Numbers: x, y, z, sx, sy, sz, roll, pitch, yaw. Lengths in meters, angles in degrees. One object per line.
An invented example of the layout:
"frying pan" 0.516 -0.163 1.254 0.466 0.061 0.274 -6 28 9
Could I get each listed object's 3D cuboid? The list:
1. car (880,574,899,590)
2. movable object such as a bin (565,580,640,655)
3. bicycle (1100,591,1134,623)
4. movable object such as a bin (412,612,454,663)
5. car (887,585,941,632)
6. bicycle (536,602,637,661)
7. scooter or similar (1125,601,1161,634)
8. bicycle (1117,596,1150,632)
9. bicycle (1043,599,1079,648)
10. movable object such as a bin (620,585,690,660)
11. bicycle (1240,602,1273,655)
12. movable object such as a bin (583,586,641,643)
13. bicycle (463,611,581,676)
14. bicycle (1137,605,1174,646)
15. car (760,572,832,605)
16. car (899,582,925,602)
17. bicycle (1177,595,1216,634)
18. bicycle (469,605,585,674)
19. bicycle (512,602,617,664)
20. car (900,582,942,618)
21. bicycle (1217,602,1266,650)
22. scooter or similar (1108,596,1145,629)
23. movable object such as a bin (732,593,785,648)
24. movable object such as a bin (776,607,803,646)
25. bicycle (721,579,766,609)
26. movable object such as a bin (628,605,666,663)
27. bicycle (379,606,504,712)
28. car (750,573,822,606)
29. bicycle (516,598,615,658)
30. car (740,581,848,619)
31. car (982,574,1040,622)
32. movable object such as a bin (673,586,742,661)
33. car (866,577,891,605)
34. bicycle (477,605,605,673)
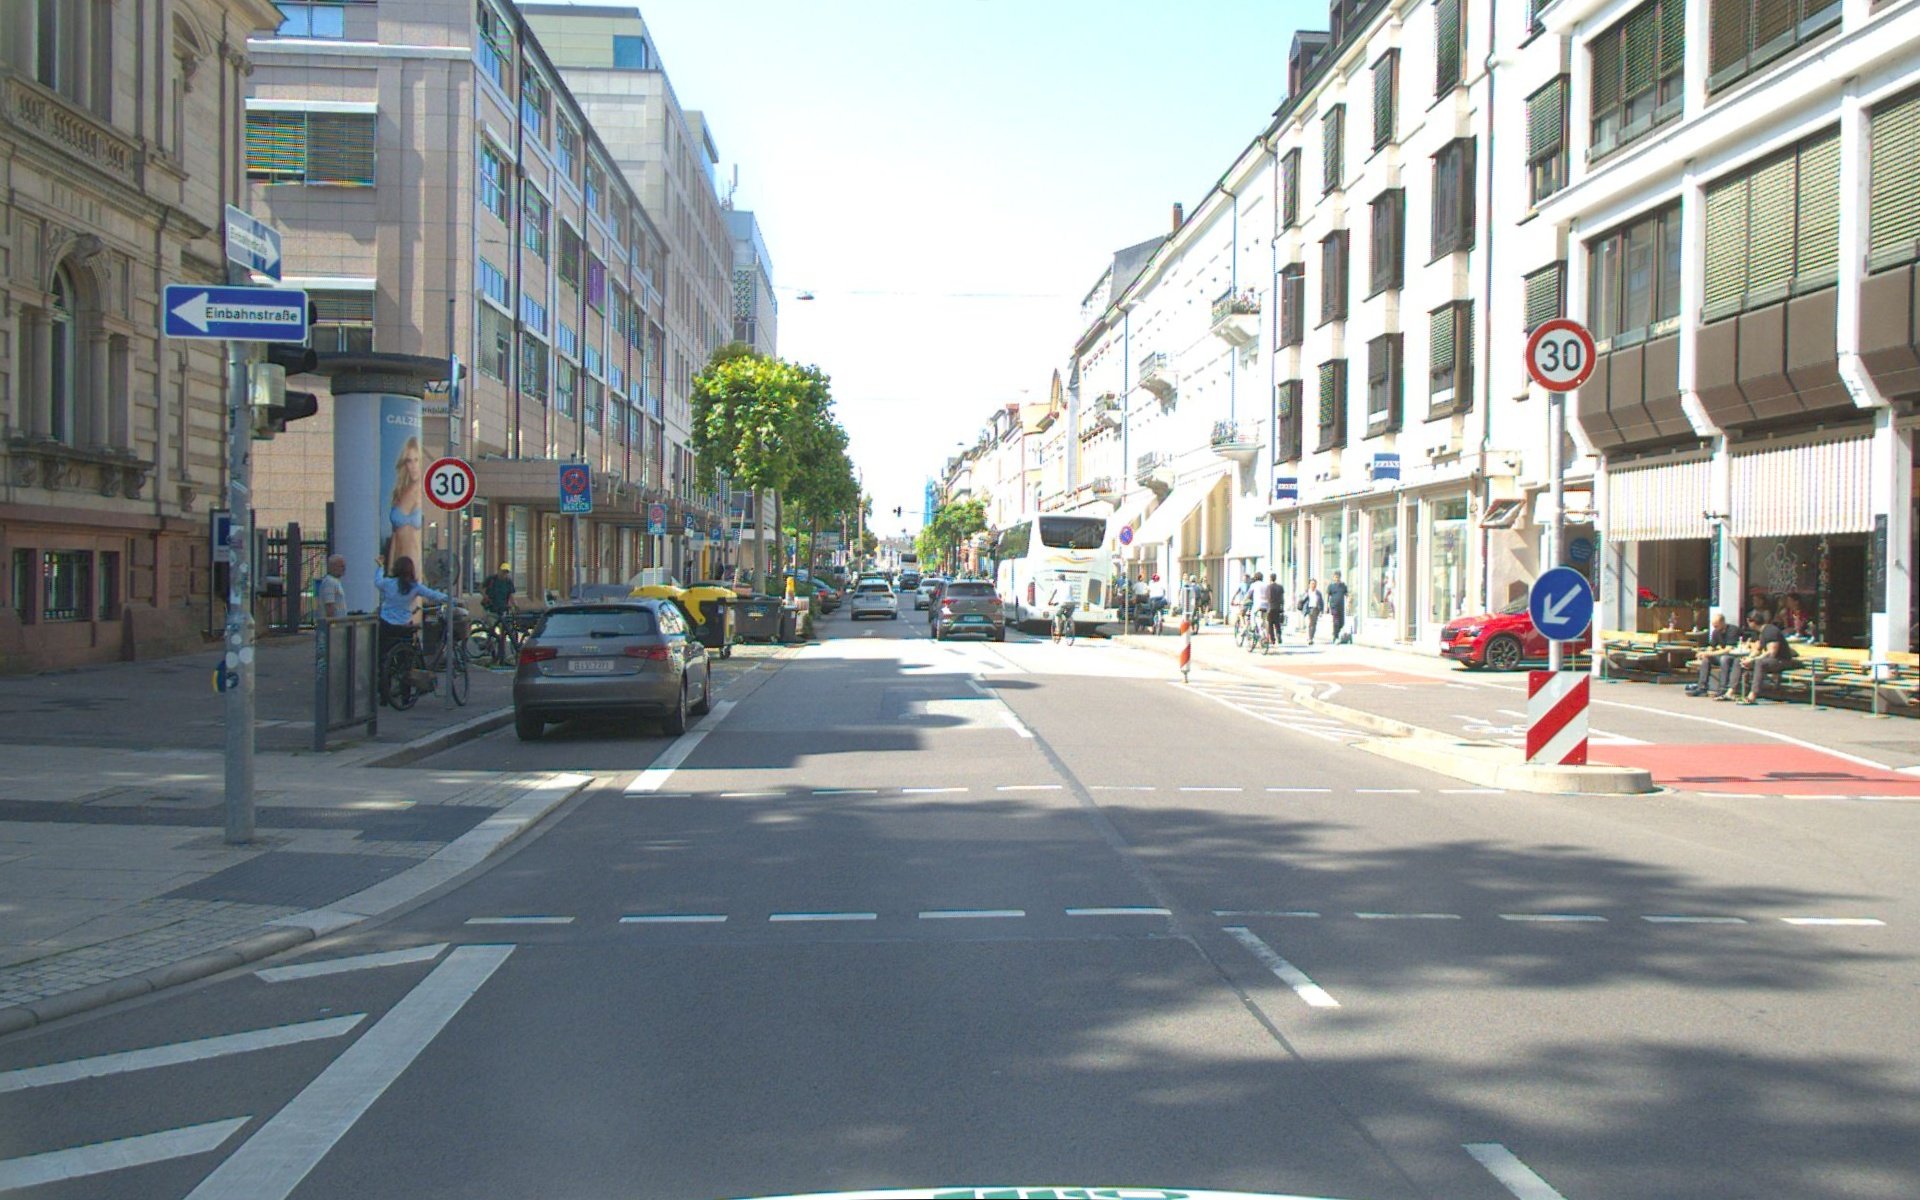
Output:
"car" -6.991 -1.749 163.529 1.826 1.466 3.997 -1 -1 -4
"movable object such as a bin" -7.491 0.352 34.730 1.184 1.476 1.364 2 1 3
"bicycle" 5.667 0.231 59.766 0.821 1.118 2.350 1 0 -5
"movable object such as a bin" -9.322 0.657 29.294 0.643 0.891 0.510 0 -1 -11
"car" -1.593 0.314 57.568 1.796 1.554 3.998 -1 -1 -2
"bicycle" -7.598 0.645 33.717 1.929 1.140 0.508 2 -1 -7
"scooter or similar" 5.608 0.521 50.693 0.848 0.973 1.211 1 0 -5
"bicycle" 5.501 0.425 52.497 0.608 1.118 2.350 1 0 -4
"bicycle" 2.567 0.592 42.285 0.651 1.140 2.242 2 1 -3
"movable object such as a bin" -6.359 0.457 34.558 1.100 1.476 1.439 2 1 3
"bicycle" 6.744 0.627 37.669 0.582 1.140 1.802 1 1 5
"movable object such as a bin" -8.596 0.342 40.920 1.185 1.322 1.127 2 1 -3
"bicycle" -7.593 0.750 28.737 1.929 1.035 0.668 3 -1 -15
"bicycle" 5.679 0.732 48.240 0.608 1.118 2.350 1 0 -4
"car" -9.903 -0.719 99.979 3.908 1.595 1.699 6 1 22
"car" -3.658 -0.582 124.805 1.826 1.466 3.997 0 1 -4
"bicycle" 6.969 0.421 48.809 0.608 1.118 2.350 1 0 -4
"bicycle" -7.692 0.703 29.454 1.927 1.140 0.554 3 -1 -15
"bicycle" -7.896 0.666 33.078 1.936 1.140 0.508 3 -1 -7
"car" -1.829 0.022 76.223 1.797 1.554 3.997 -1 -1 -3
"bicycle" 6.820 0.615 40.166 0.608 1.118 2.350 1 0 -4
"scooter or similar" 5.827 0.436 58.009 1.099 1.121 1.084 1 0 -5
"movable object such as a bin" -5.017 0.503 41.256 1.251 1.322 0.853 1 0 -3
"movable object such as a bin" -4.406 0.683 42.762 0.547 0.955 0.496 -2 1 -29
"bicycle" -10.286 -0.286 78.614 2.028 1.311 0.367 3 0 -11
"movable object such as a bin" -6.247 0.676 33.045 0.709 1.117 0.655 2 1 -11
"bicycle" -5.993 0.672 19.254 0.420 1.140 2.245 2 -1 8
"car" -9.864 -0.604 93.582 3.912 1.526 1.715 5 0 -7
"bicycle" -7.740 0.553 32.491 1.808 1.092 0.556 -2 -3 -7
"car" -7.281 -0.024 72.364 4.704 1.447 1.875 3 2 37
"car" 2.132 -0.115 70.292 1.792 1.896 4.348 2 1 -7
"movable object such as a bin" -5.254 0.476 34.514 1.100 1.476 1.439 2 1 3
"car" -6.144 -0.654 123.998 1.826 2.065 3.997 1 -1 -4
"bicycle" -7.616 0.704 30.115 2.198 1.140 0.554 3 -1 -15
